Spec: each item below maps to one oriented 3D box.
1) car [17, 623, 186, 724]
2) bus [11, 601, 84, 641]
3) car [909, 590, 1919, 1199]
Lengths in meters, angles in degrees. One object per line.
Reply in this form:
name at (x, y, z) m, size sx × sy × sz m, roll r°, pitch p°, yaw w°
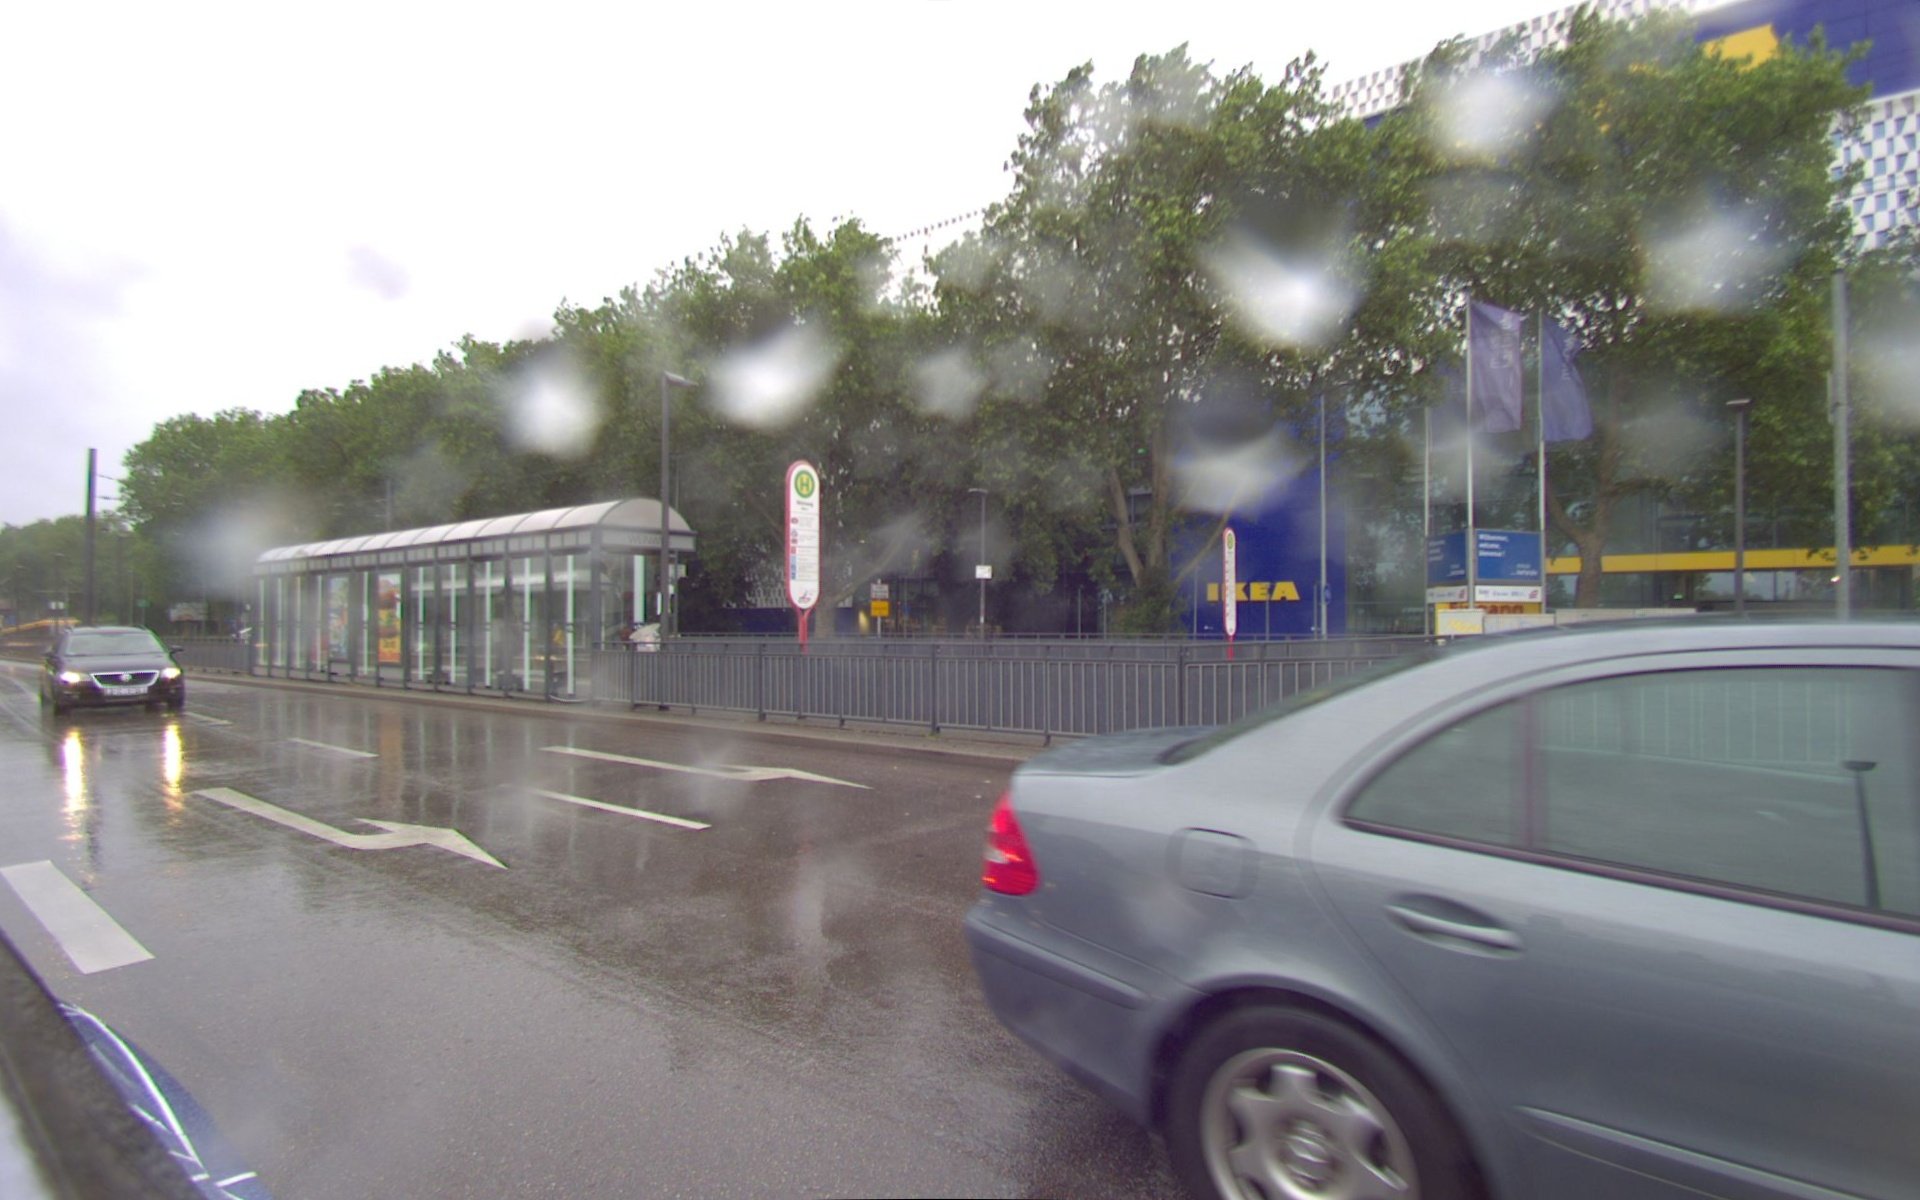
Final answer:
car at (-15.416, 1.200, 18.085) m, size 4.596 × 1.512 × 1.752 m, roll -1°, pitch 0°, yaw 43°
bus at (-81.780, 1.836, 90.581) m, size 15.052 × 3.354 × 2.901 m, roll -1°, pitch 0°, yaw 40°
car at (2.189, 0.685, 1.933) m, size 4.641 × 1.409 × 1.744 m, roll 0°, pitch 0°, yaw 40°
